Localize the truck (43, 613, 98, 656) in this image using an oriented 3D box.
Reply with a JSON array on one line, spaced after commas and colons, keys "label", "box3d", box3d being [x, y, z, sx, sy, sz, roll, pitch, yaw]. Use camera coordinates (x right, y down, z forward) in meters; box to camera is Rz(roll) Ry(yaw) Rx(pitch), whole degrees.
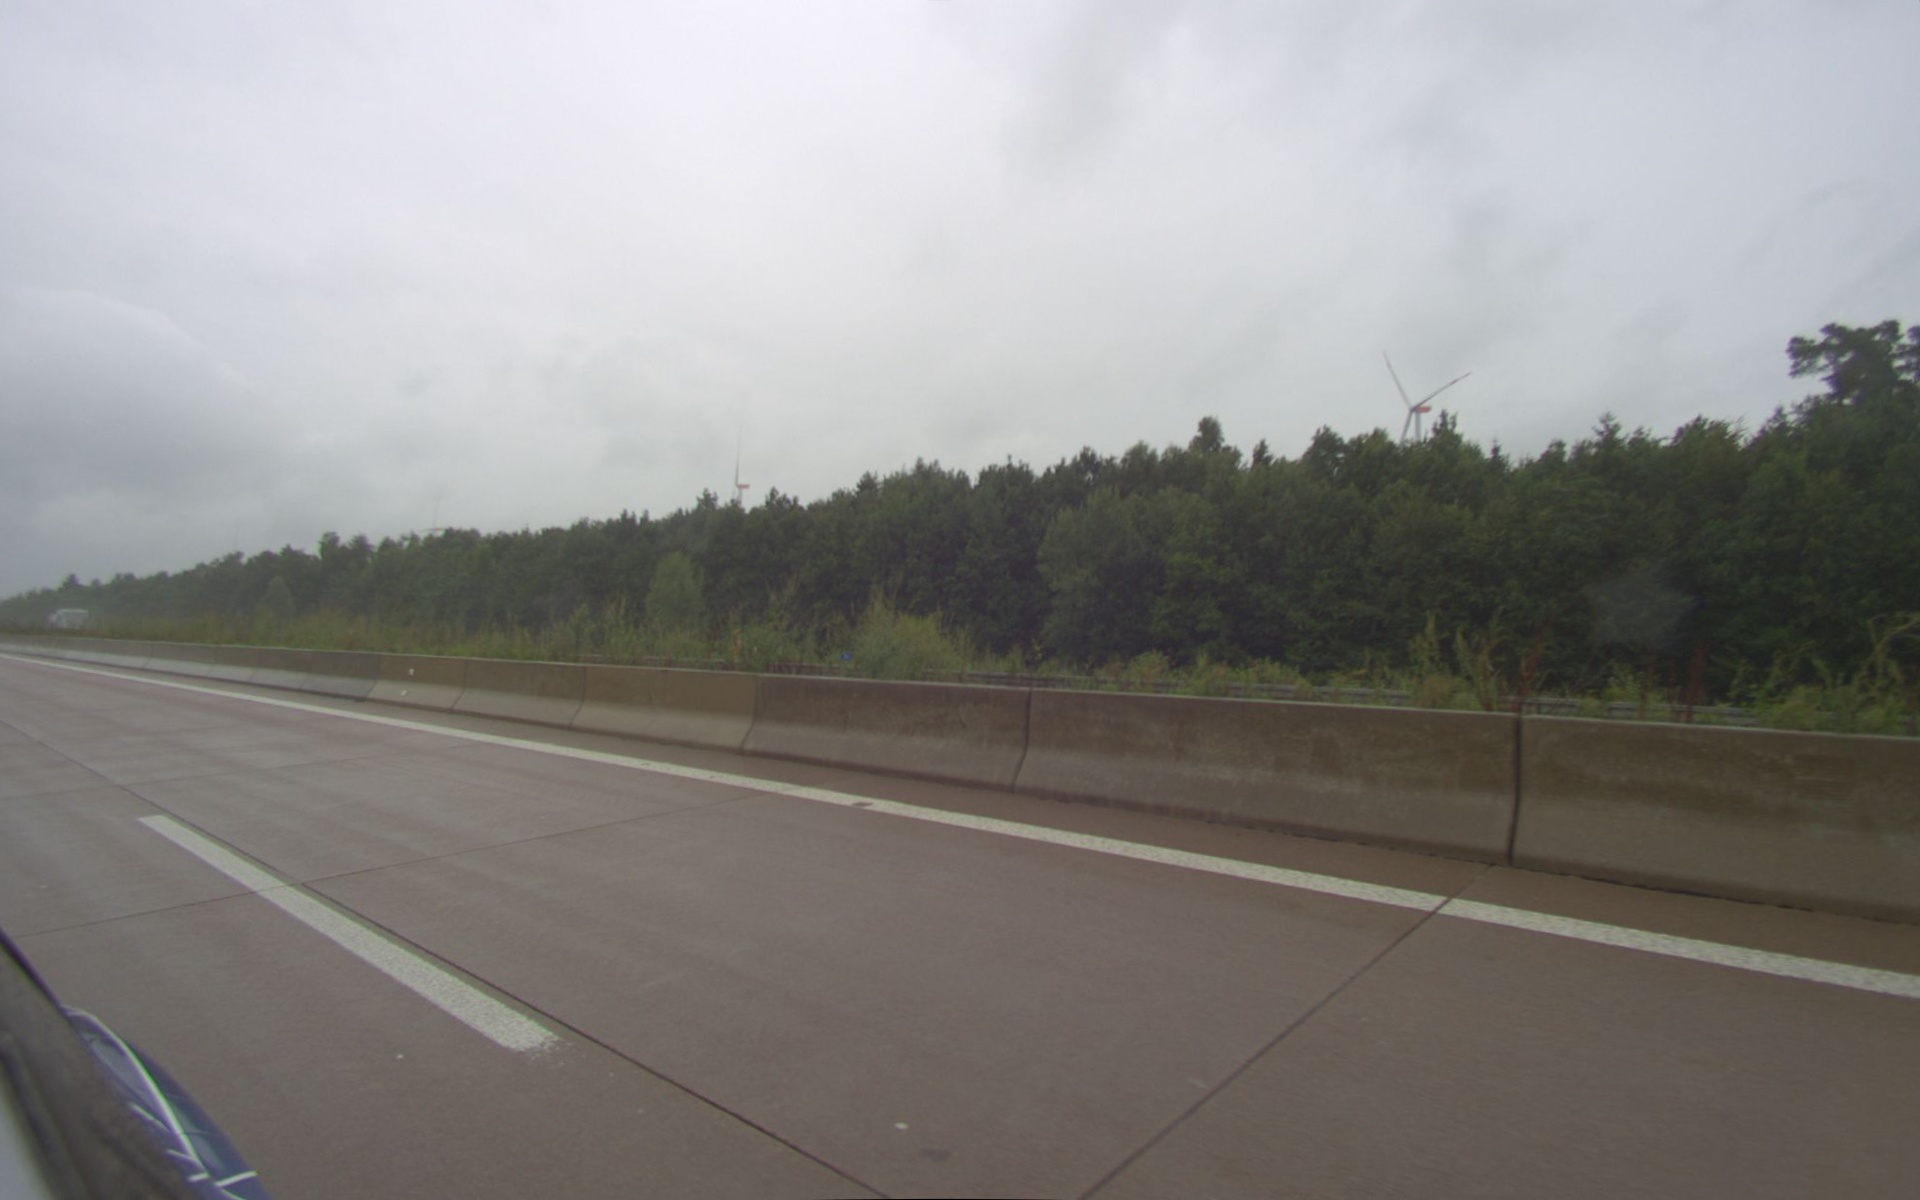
[{"label": "truck", "box3d": [-100.485, 3.893, 114.309, 9.548, 4.505, 3.114, -2, 0, 40]}]
